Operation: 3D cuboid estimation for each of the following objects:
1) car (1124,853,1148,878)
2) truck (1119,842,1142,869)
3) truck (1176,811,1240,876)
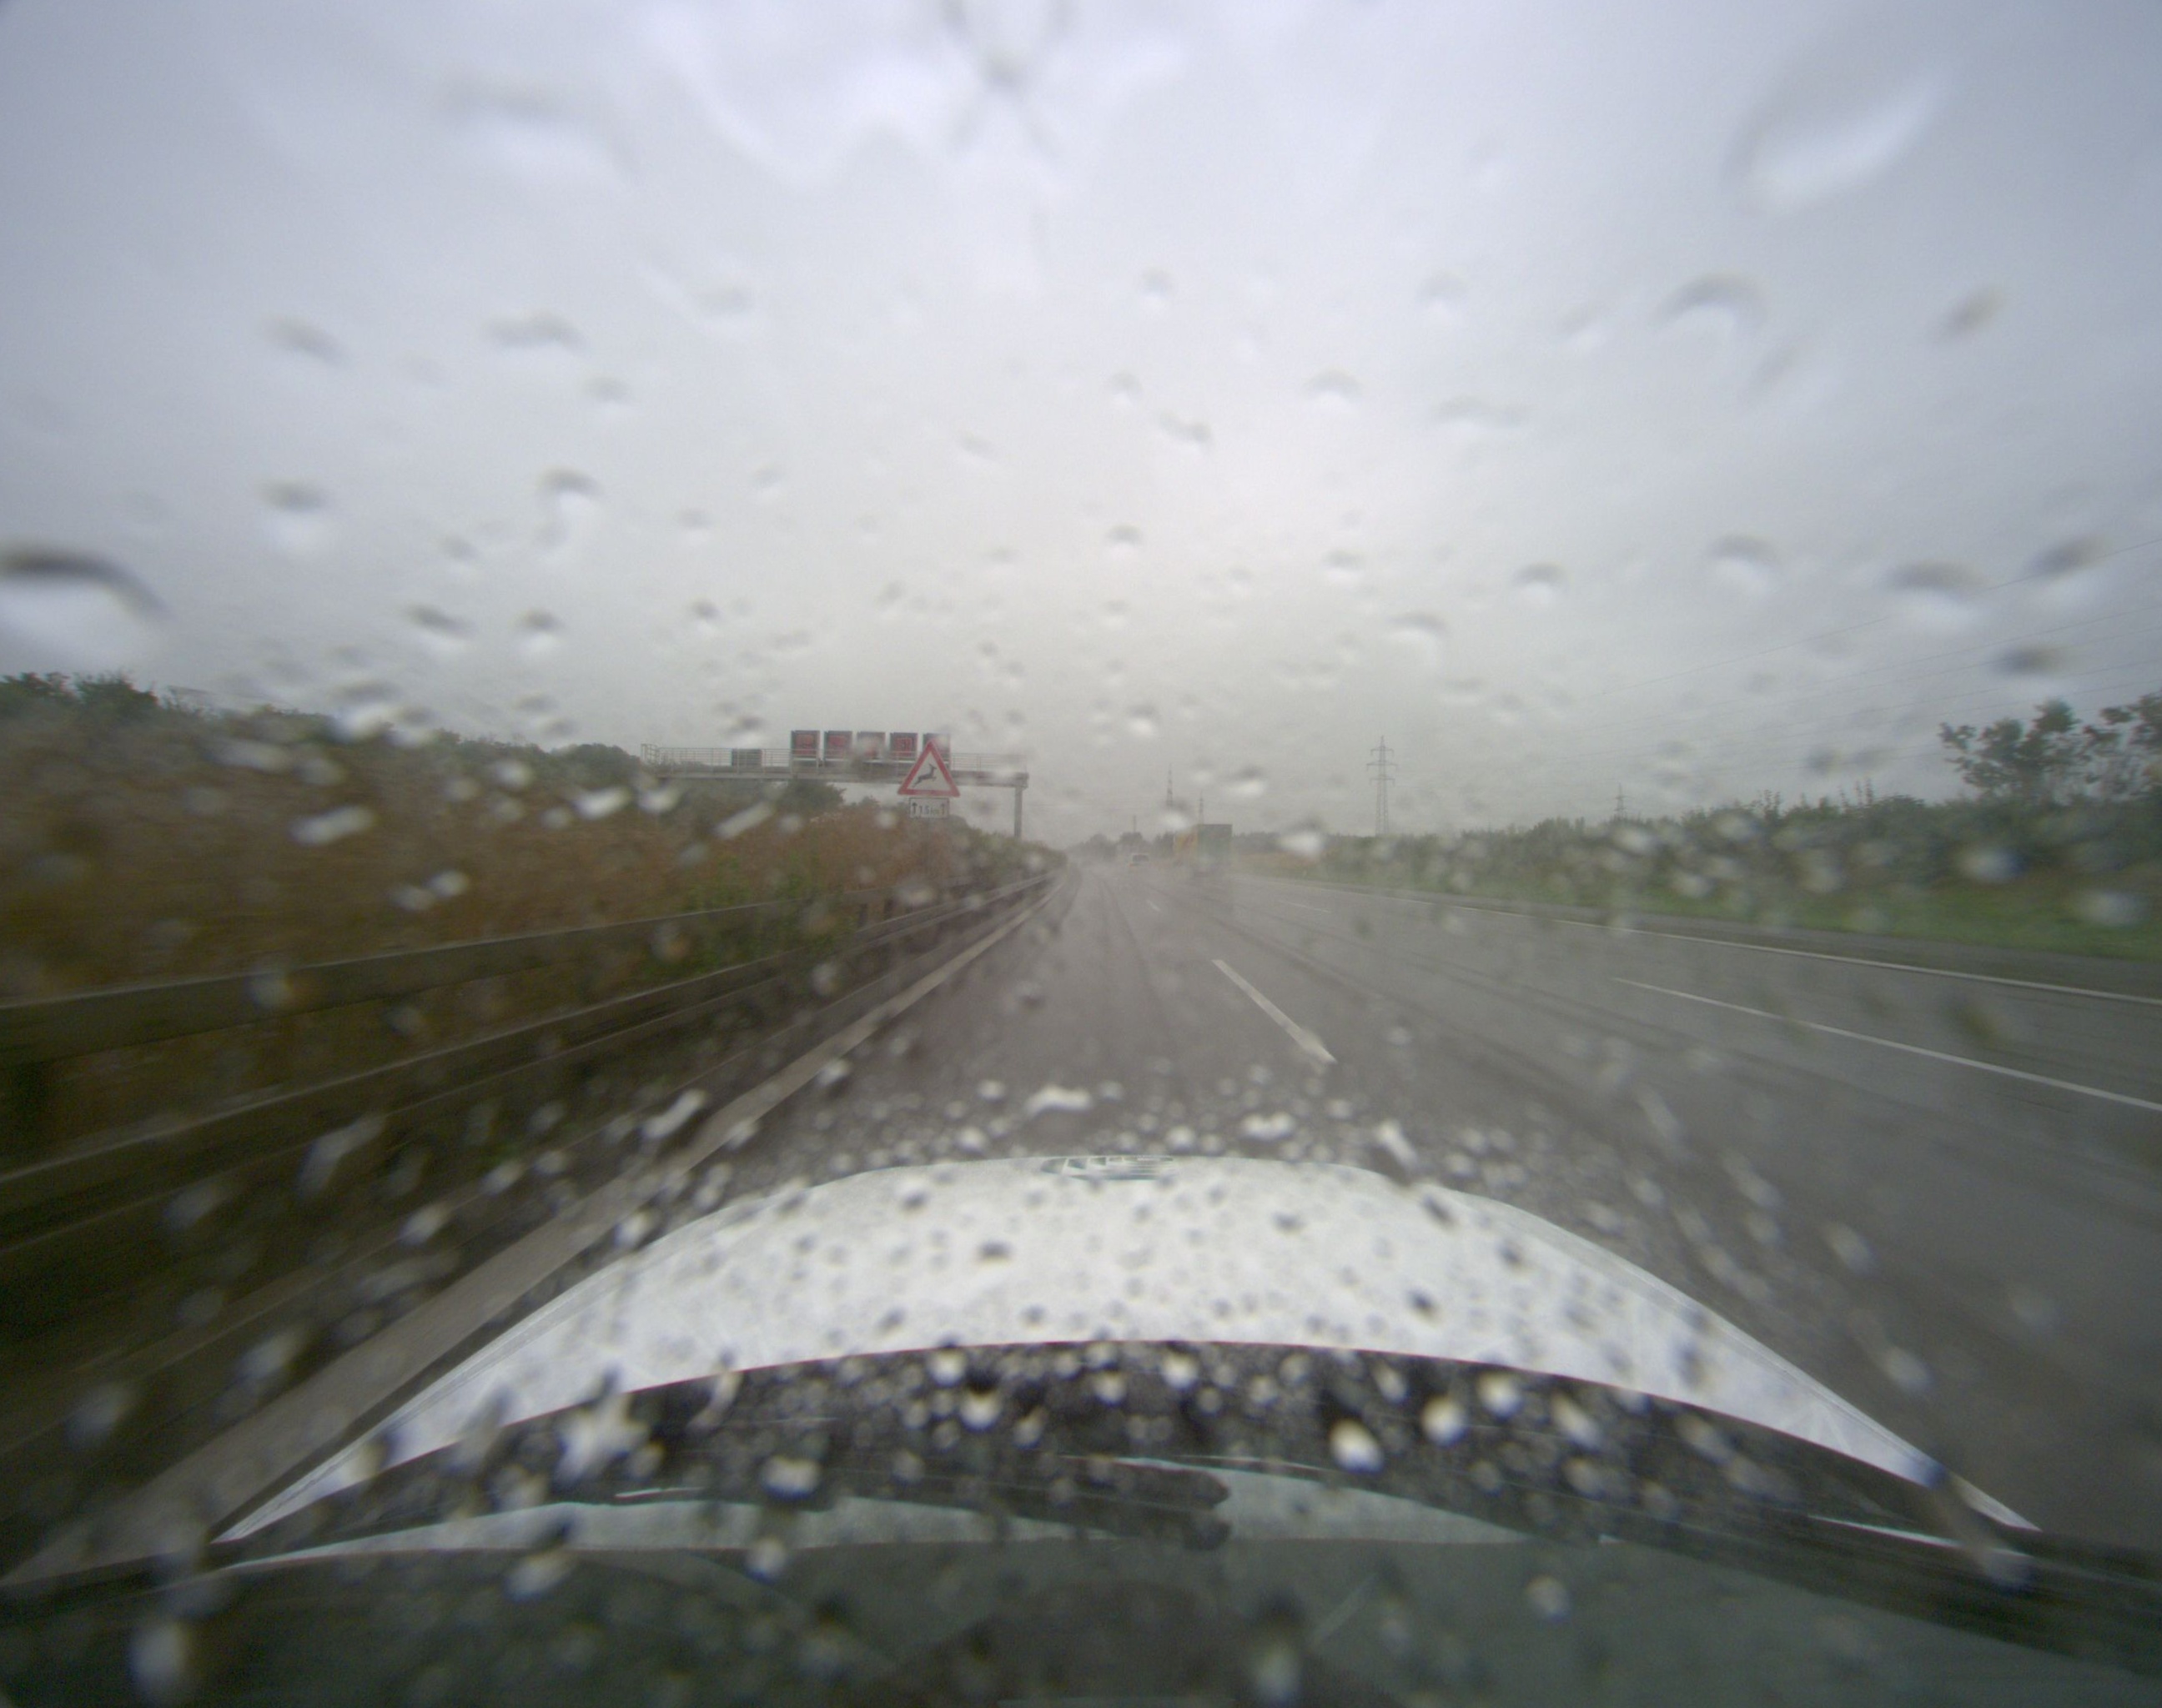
[{"bbox_3d":[4.681,0.948,69.981,1.985,2.013,4.004,-1,0,3],"label":"car"},{"bbox_3d":[8.171,0.153,135.687,3.223,4.311,8.832,-1,0,-1],"label":"truck"},{"bbox_3d":[10.089,-0.679,66.794,4.168,4.630,16.129,-1,0,6],"label":"truck"}]
